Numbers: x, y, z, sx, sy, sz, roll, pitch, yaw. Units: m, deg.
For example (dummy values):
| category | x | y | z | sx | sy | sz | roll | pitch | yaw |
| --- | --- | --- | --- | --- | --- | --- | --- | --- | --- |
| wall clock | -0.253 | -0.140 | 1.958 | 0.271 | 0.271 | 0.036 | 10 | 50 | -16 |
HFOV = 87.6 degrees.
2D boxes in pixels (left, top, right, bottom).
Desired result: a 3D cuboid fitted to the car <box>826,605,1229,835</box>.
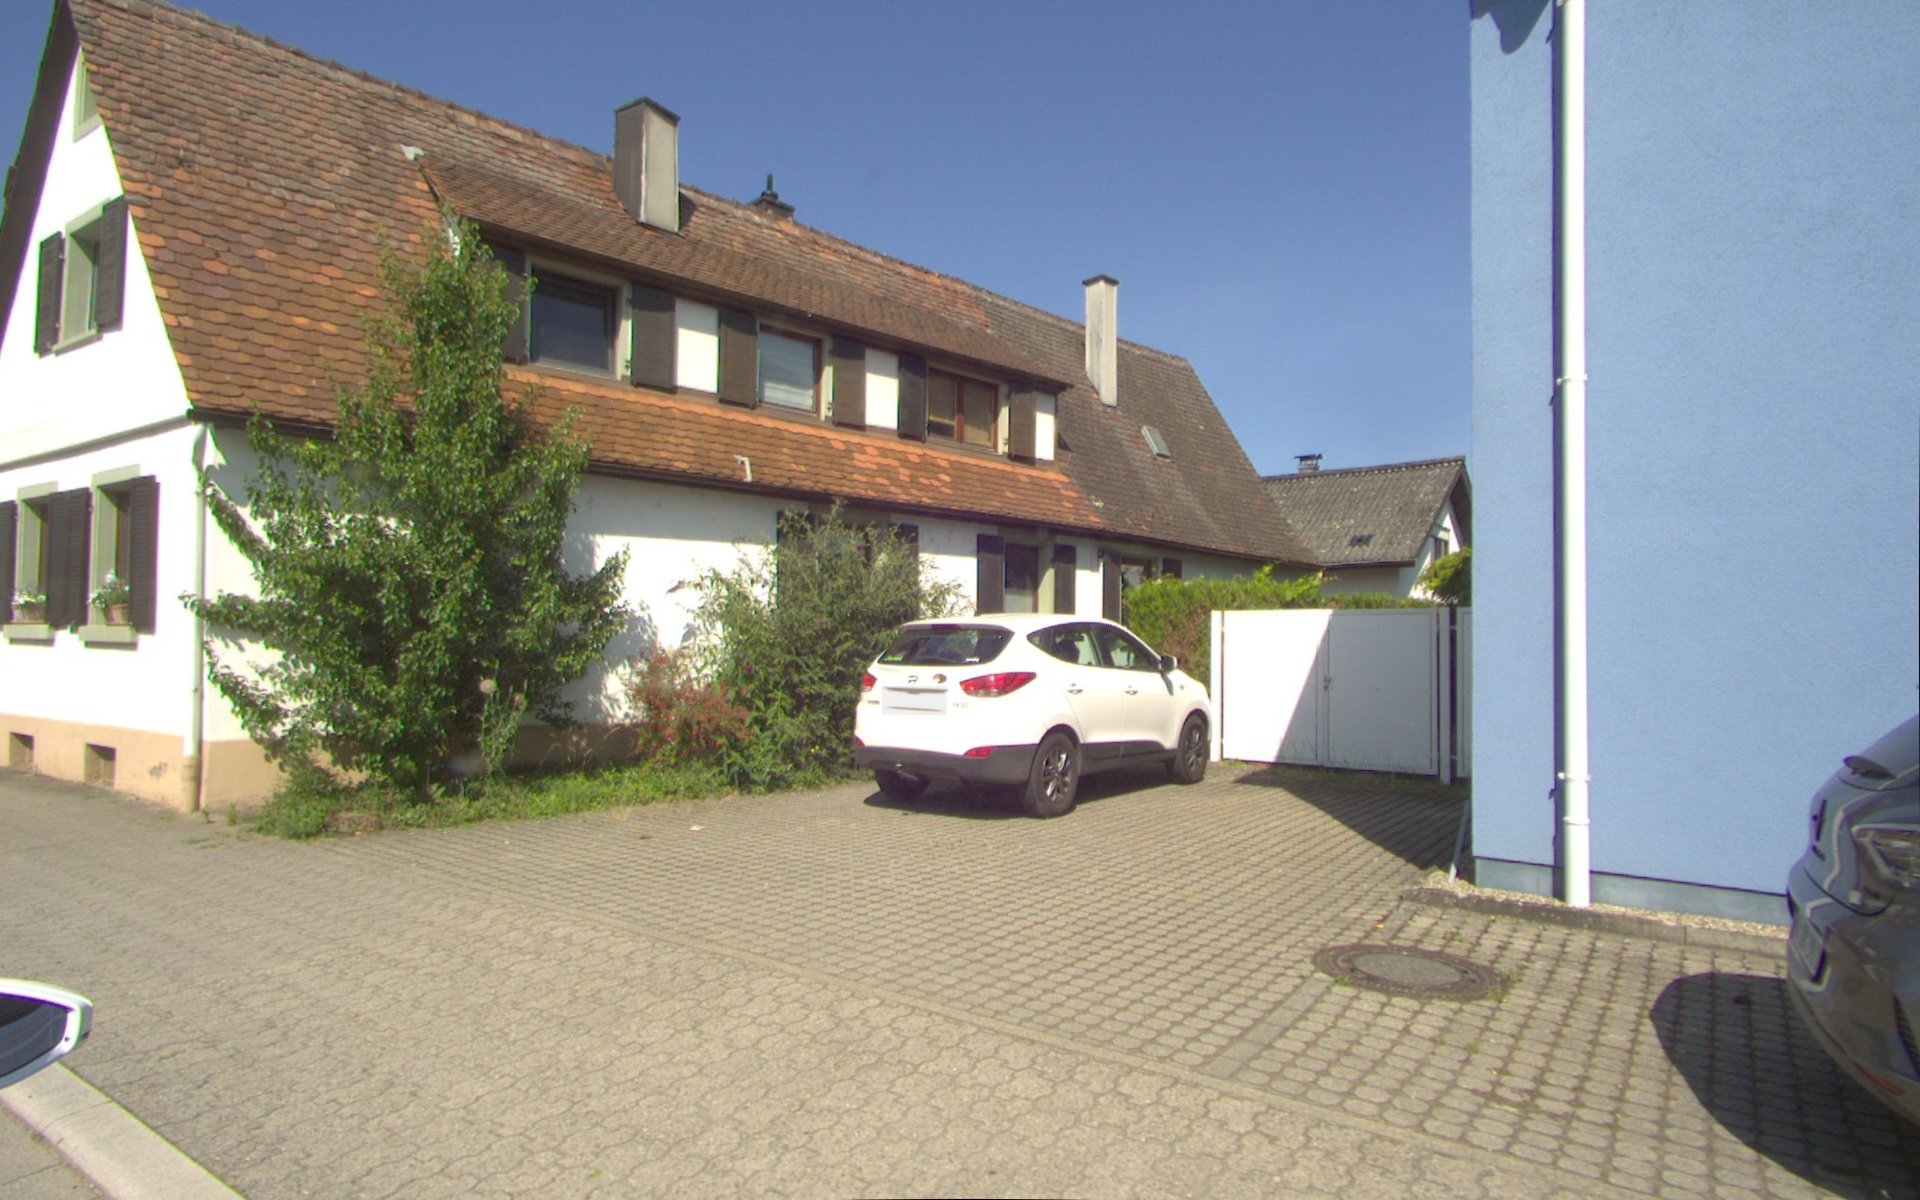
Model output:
| category | x | y | z | sx | sy | sz | roll | pitch | yaw |
| --- | --- | --- | --- | --- | --- | --- | --- | --- | --- |
| car | 0.857 | 0.978 | 9.509 | 1.790 | 1.678 | 4.160 | -2 | -3 | 38 |

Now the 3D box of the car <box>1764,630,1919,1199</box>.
| category | x | y | z | sx | sy | sz | roll | pitch | yaw |
| --- | --- | --- | --- | --- | --- | --- | --- | --- | --- |
| car | 4.159 | 0.788 | 1.823 | 4.092 | 1.437 | 1.685 | -2 | -4 | 37 |
